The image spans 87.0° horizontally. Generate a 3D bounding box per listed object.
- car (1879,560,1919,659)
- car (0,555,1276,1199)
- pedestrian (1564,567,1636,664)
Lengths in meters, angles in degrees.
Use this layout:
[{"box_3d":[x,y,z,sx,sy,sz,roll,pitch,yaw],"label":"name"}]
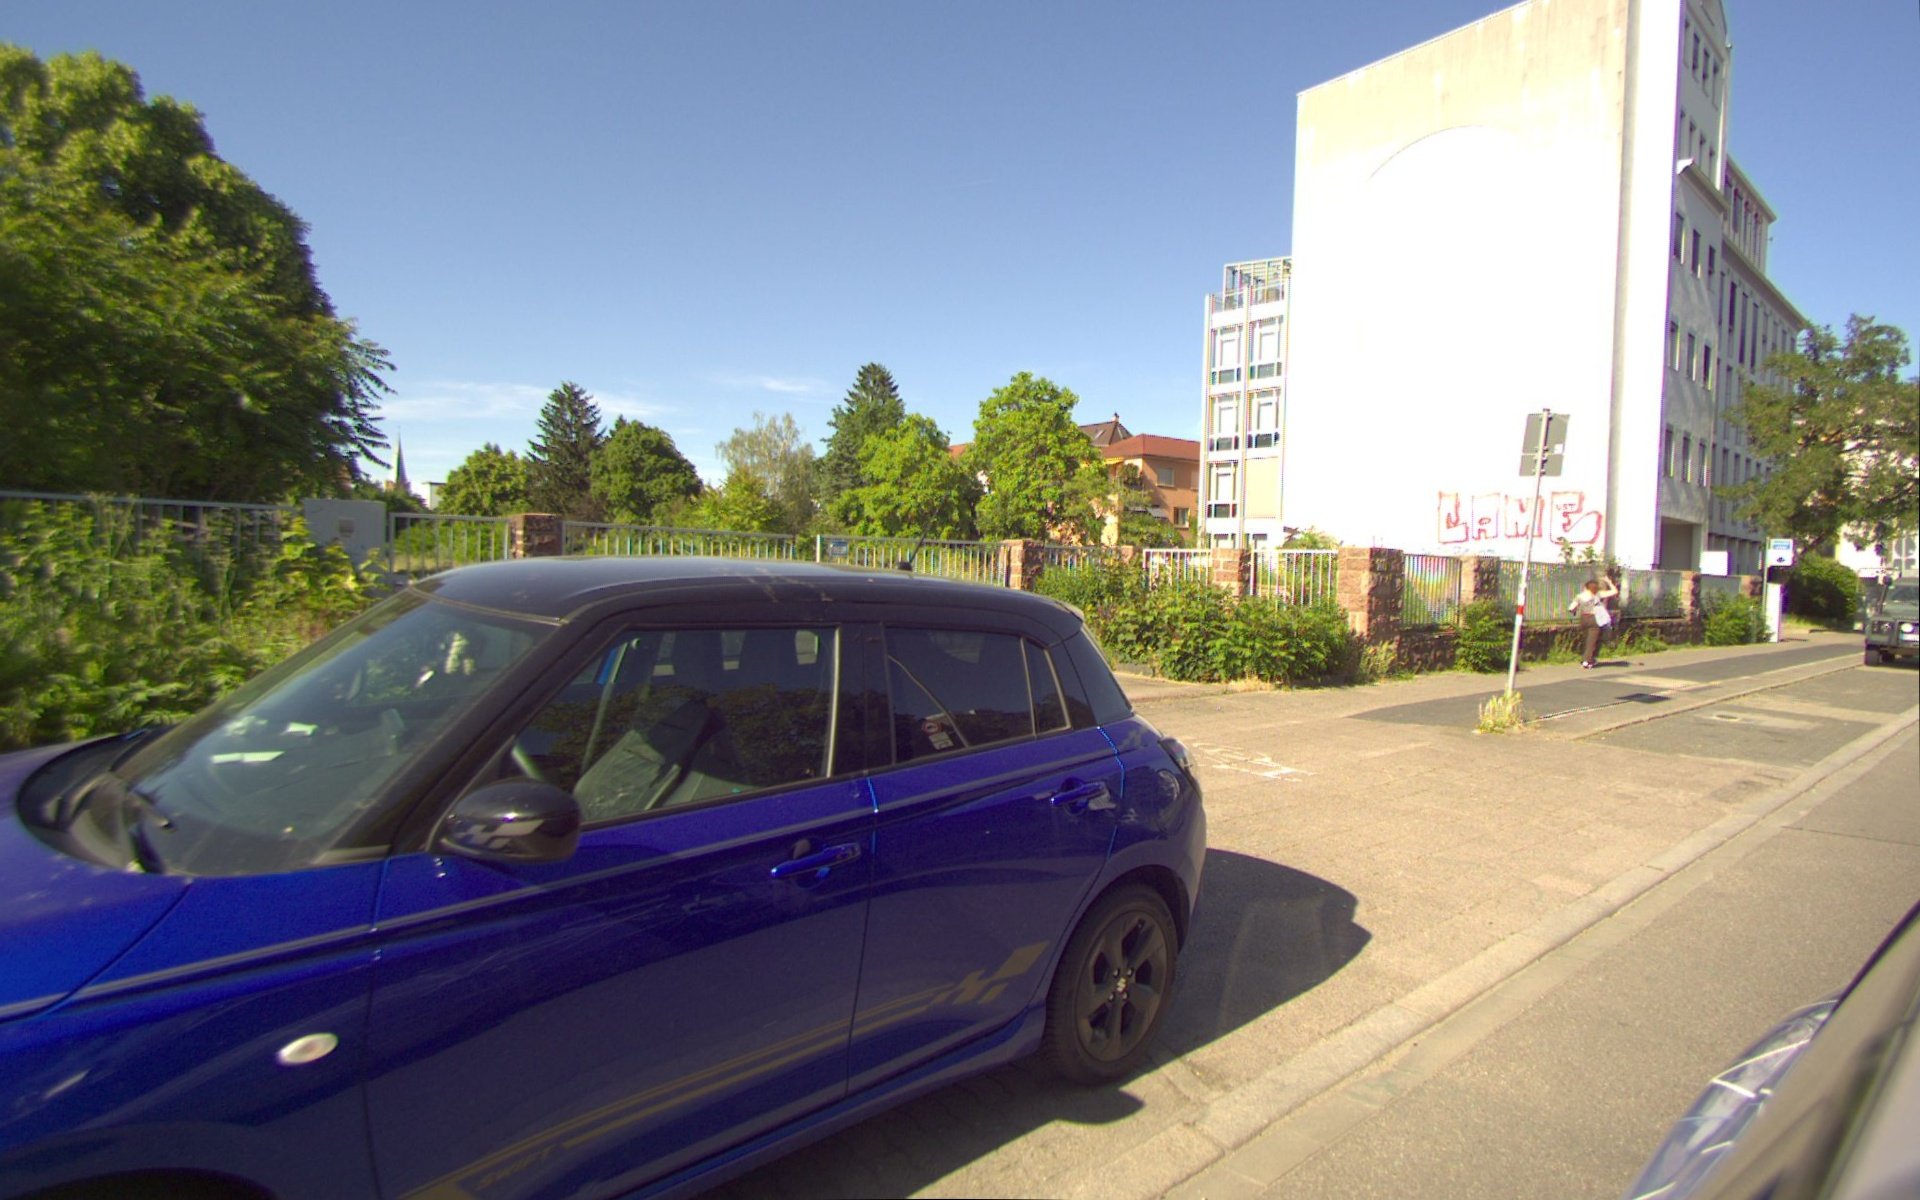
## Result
[{"box_3d":[21.849,0.190,22.355,4.693,2.038,1.664,-1,4,-41],"label":"car"},{"box_3d":[-0.948,0.567,2.728,3.834,1.196,1.671,0,5,-42],"label":"car"},{"box_3d":[11.254,0.254,17.792,0.881,1.602,0.745,0,4,-41],"label":"pedestrian"}]
